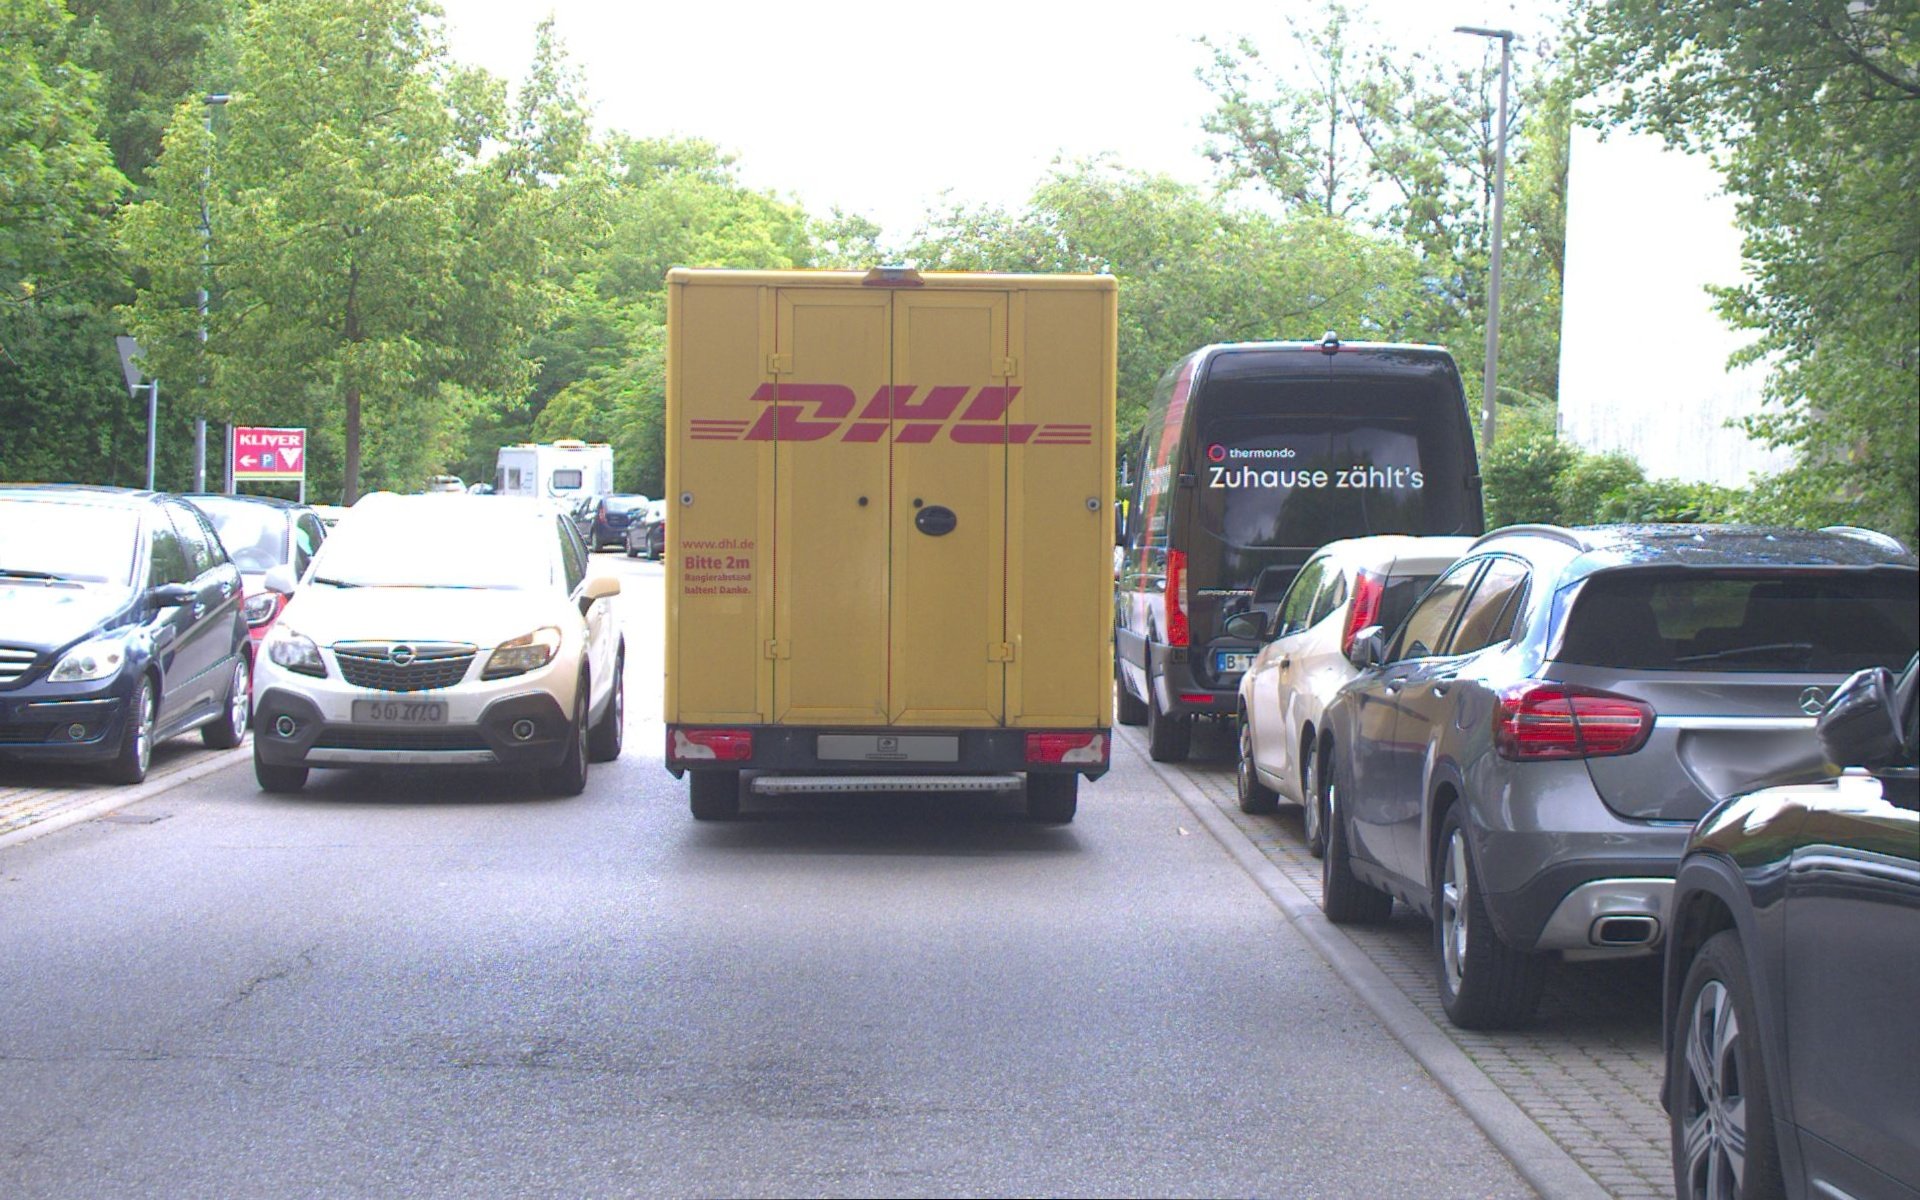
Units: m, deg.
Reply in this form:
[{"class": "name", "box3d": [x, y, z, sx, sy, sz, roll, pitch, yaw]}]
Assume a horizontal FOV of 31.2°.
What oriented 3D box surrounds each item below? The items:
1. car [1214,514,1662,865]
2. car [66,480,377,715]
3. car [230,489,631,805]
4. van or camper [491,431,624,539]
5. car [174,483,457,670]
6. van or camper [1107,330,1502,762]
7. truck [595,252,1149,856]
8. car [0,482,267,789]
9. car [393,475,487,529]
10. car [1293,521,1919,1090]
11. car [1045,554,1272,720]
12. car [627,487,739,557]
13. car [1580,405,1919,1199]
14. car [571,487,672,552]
[{"class": "car", "box3d": [2.219, 0.353, 16.739, 1.562, 1.491, 3.331, 1, 2, -2]}, {"class": "car", "box3d": [-5.143, -0.056, 24.231, 1.528, 1.501, 2.713, 2, 2, 1]}, {"class": "car", "box3d": [-2.943, 0.179, 19.866, 1.747, 1.605, 4.053, 1, 2, -1]}, {"class": "van or camper", "box3d": [-11.555, -3.325, 98.348, 2.323, 2.861, 5.262, -1, 4, -24]}, {"class": "car", "box3d": [-5.455, -0.248, 29.540, 1.674, 1.431, 3.970, 2, 2, -1]}, {"class": "van or camper", "box3d": [2.131, -0.378, 22.811, 1.993, 2.514, 5.471, 0, 1, -1]}, {"class": "truck", "box3d": [-0.516, -0.313, 18.964, 2.466, 2.693, 6.825, 1, 2, -2]}, {"class": "car", "box3d": [-5.323, 0.119, 19.942, 1.884, 1.553, 3.838, 2, 2, -2]}, {"class": "car", "box3d": [-16.760, -3.157, 110.722, 1.843, 1.524, 4.001, 1, 3, -26]}, {"class": "car", "box3d": [2.200, 0.512, 11.312, 1.699, 1.491, 4.119, 1, 2, -1]}, {"class": "car", "box3d": [1.862, 0.314, 33.370, 1.728, 1.428, 3.969, 2, 1, -3]}, {"class": "car", "box3d": [-6.855, -1.939, 84.740, 1.843, 1.524, 4.002, 2, 3, -18]}, {"class": "car", "box3d": [2.308, 0.558, 5.078, 1.813, 1.672, 4.371, 0, 2, -2]}, {"class": "car", "box3d": [-9.068, -2.165, 91.837, 1.843, 1.524, 4.002, 2, 3, -18]}]
